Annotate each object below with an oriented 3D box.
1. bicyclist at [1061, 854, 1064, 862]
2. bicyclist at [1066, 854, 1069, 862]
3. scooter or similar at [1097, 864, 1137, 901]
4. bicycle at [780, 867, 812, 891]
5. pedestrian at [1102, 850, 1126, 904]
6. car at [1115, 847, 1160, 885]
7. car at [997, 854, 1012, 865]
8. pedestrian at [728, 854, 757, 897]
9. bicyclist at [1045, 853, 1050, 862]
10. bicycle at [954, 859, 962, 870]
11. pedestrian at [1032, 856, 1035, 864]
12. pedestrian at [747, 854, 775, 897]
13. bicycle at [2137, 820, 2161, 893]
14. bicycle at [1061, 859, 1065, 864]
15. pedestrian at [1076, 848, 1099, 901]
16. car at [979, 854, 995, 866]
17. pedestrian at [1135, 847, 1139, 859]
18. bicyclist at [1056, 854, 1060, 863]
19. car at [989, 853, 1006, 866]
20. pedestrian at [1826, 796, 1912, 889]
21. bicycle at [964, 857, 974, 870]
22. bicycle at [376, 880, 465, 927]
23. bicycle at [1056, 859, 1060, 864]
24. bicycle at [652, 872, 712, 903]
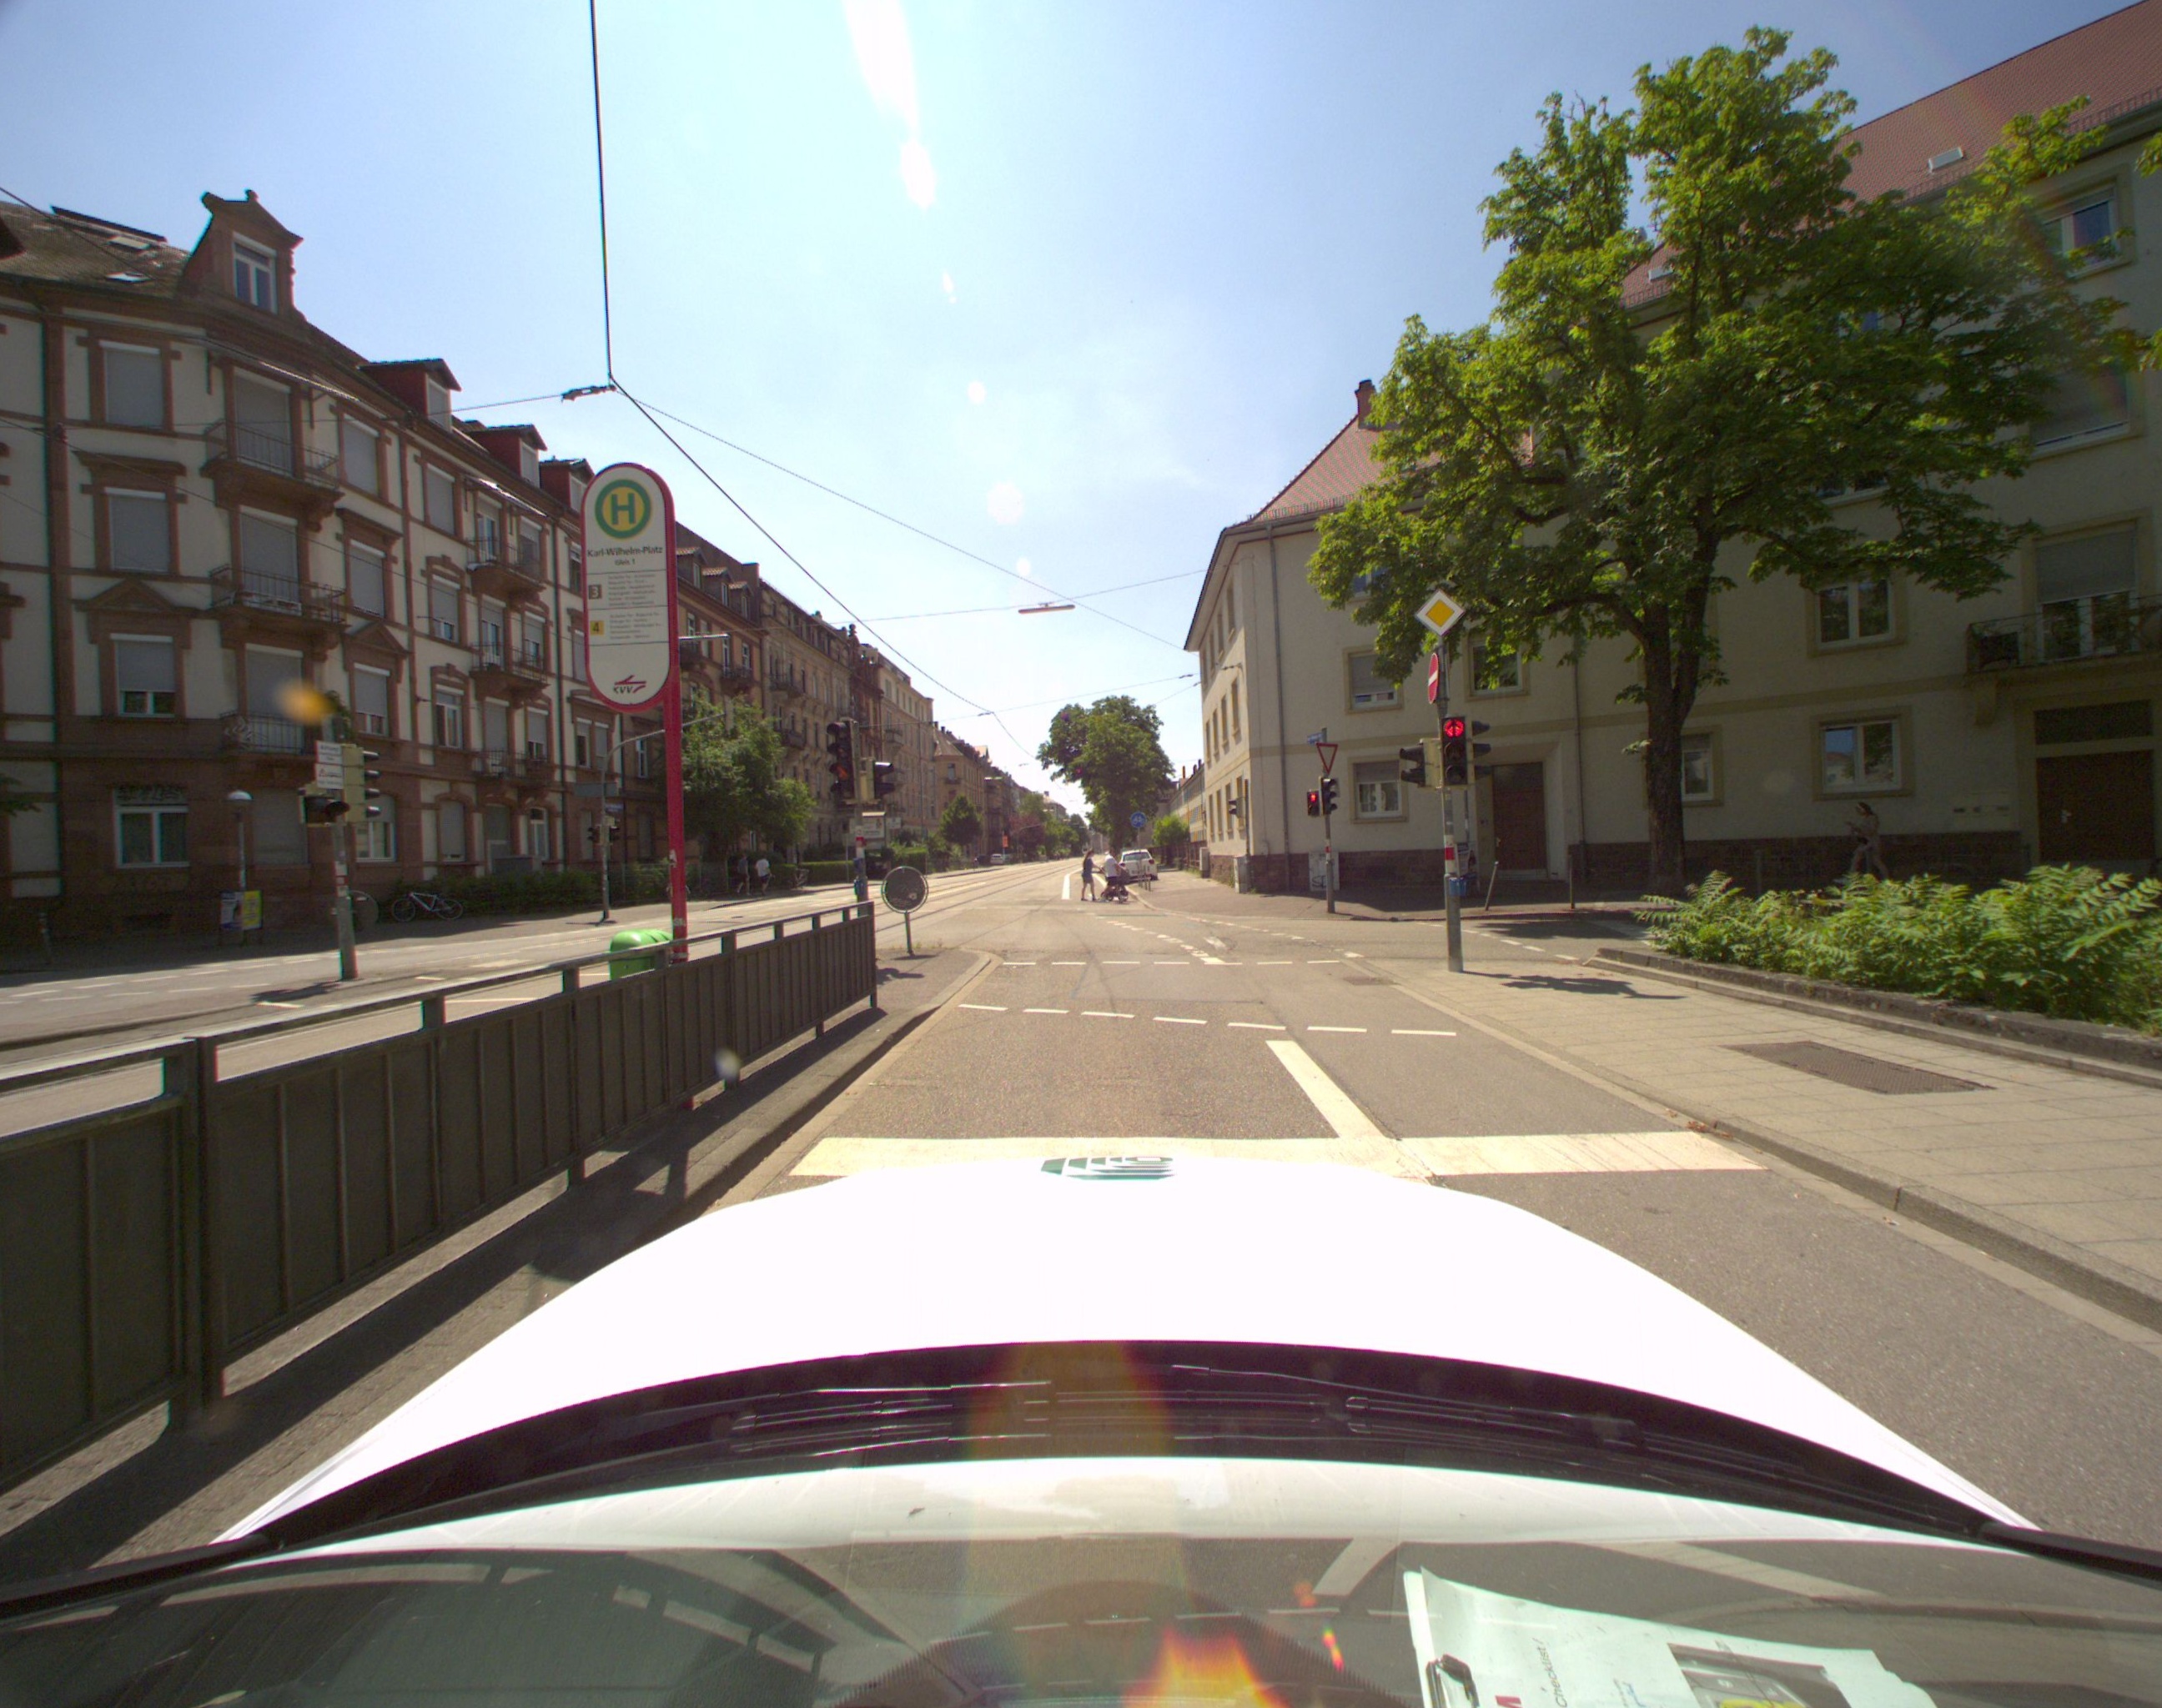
[{"bbox_3d":[-4.179,0.994,184.390,0.724,1.818,1.080,0,-1,3],"label":"bicyclist"},{"bbox_3d":[-3.085,0.981,184.155,0.724,1.818,1.080,0,-1,3],"label":"bicyclist"},{"bbox_3d":[1.143,0.912,25.990,1.200,1.155,0.557,0,-1,-7],"label":"scooter or similar"},{"bbox_3d":[-14.402,1.256,41.251,0.936,1.136,2.767,0,-1,-7],"label":"bicycle"},{"bbox_3d":[1.023,0.695,25.179,0.674,1.645,0.557,0,-1,-7],"label":"pedestrian"},{"bbox_3d":[2.523,0.532,37.412,1.808,1.516,4.001,-4,-1,2],"label":"car"},{"bbox_3d":[-11.665,0.870,124.325,1.912,1.715,4.001,0,-1,2],"label":"car"},{"bbox_3d":[-14.690,0.925,35.365,0.812,1.822,0.875,0,1,5],"label":"pedestrian"},{"bbox_3d":[-5.833,0.633,142.779,0.724,1.629,1.080,0,-1,3],"label":"bicyclist"},{"bbox_3d":[-12.157,1.028,80.495,0.677,1.064,1.912,-2,0,-9],"label":"bicycle"},{"bbox_3d":[-8.499,1.012,145.106,0.404,1.461,0.436,-2,0,1],"label":"pedestrian"},{"bbox_3d":[-13.905,0.915,35.400,0.812,1.822,0.875,0,1,5],"label":"pedestrian"},{"bbox_3d":[17.009,0.024,12.081,0.527,1.104,1.589,-2,0,-34],"label":"bicycle"},{"bbox_3d":[-4.177,1.656,184.399,0.724,1.123,2.087,0,-1,4],"label":"bicycle"},{"bbox_3d":[0.210,0.649,25.823,0.674,1.645,0.557,0,-1,-7],"label":"pedestrian"},{"bbox_3d":[-14.337,0.891,124.463,1.912,1.715,4.001,0,-1,2],"label":"car"},{"bbox_3d":[7.706,-0.109,111.547,0.519,1.562,0.573,-2,0,1],"label":"pedestrian"},{"bbox_3d":[-4.657,0.834,164.370,0.724,1.768,1.080,0,-1,3],"label":"bicyclist"},{"bbox_3d":[-11.885,0.805,116.061,1.912,1.715,4.001,0,-1,2],"label":"car"},{"bbox_3d":[15.462,-0.221,16.004,1.043,1.690,0.658,-5,3,38],"label":"pedestrian"},{"bbox_3d":[-11.713,0.955,85.132,0.675,1.278,1.918,-2,0,-1],"label":"bicycle"},{"bbox_3d":[-19.556,1.442,24.156,0.557,1.294,1.975,-1,-1,43],"label":"bicycle"},{"bbox_3d":[-4.668,1.498,164.336,0.724,1.123,2.087,0,-1,4],"label":"bicycle"},{"bbox_3d":[-15.672,1.303,32.078,0.934,1.136,2.774,0,-1,1],"label":"bicycle"}]
